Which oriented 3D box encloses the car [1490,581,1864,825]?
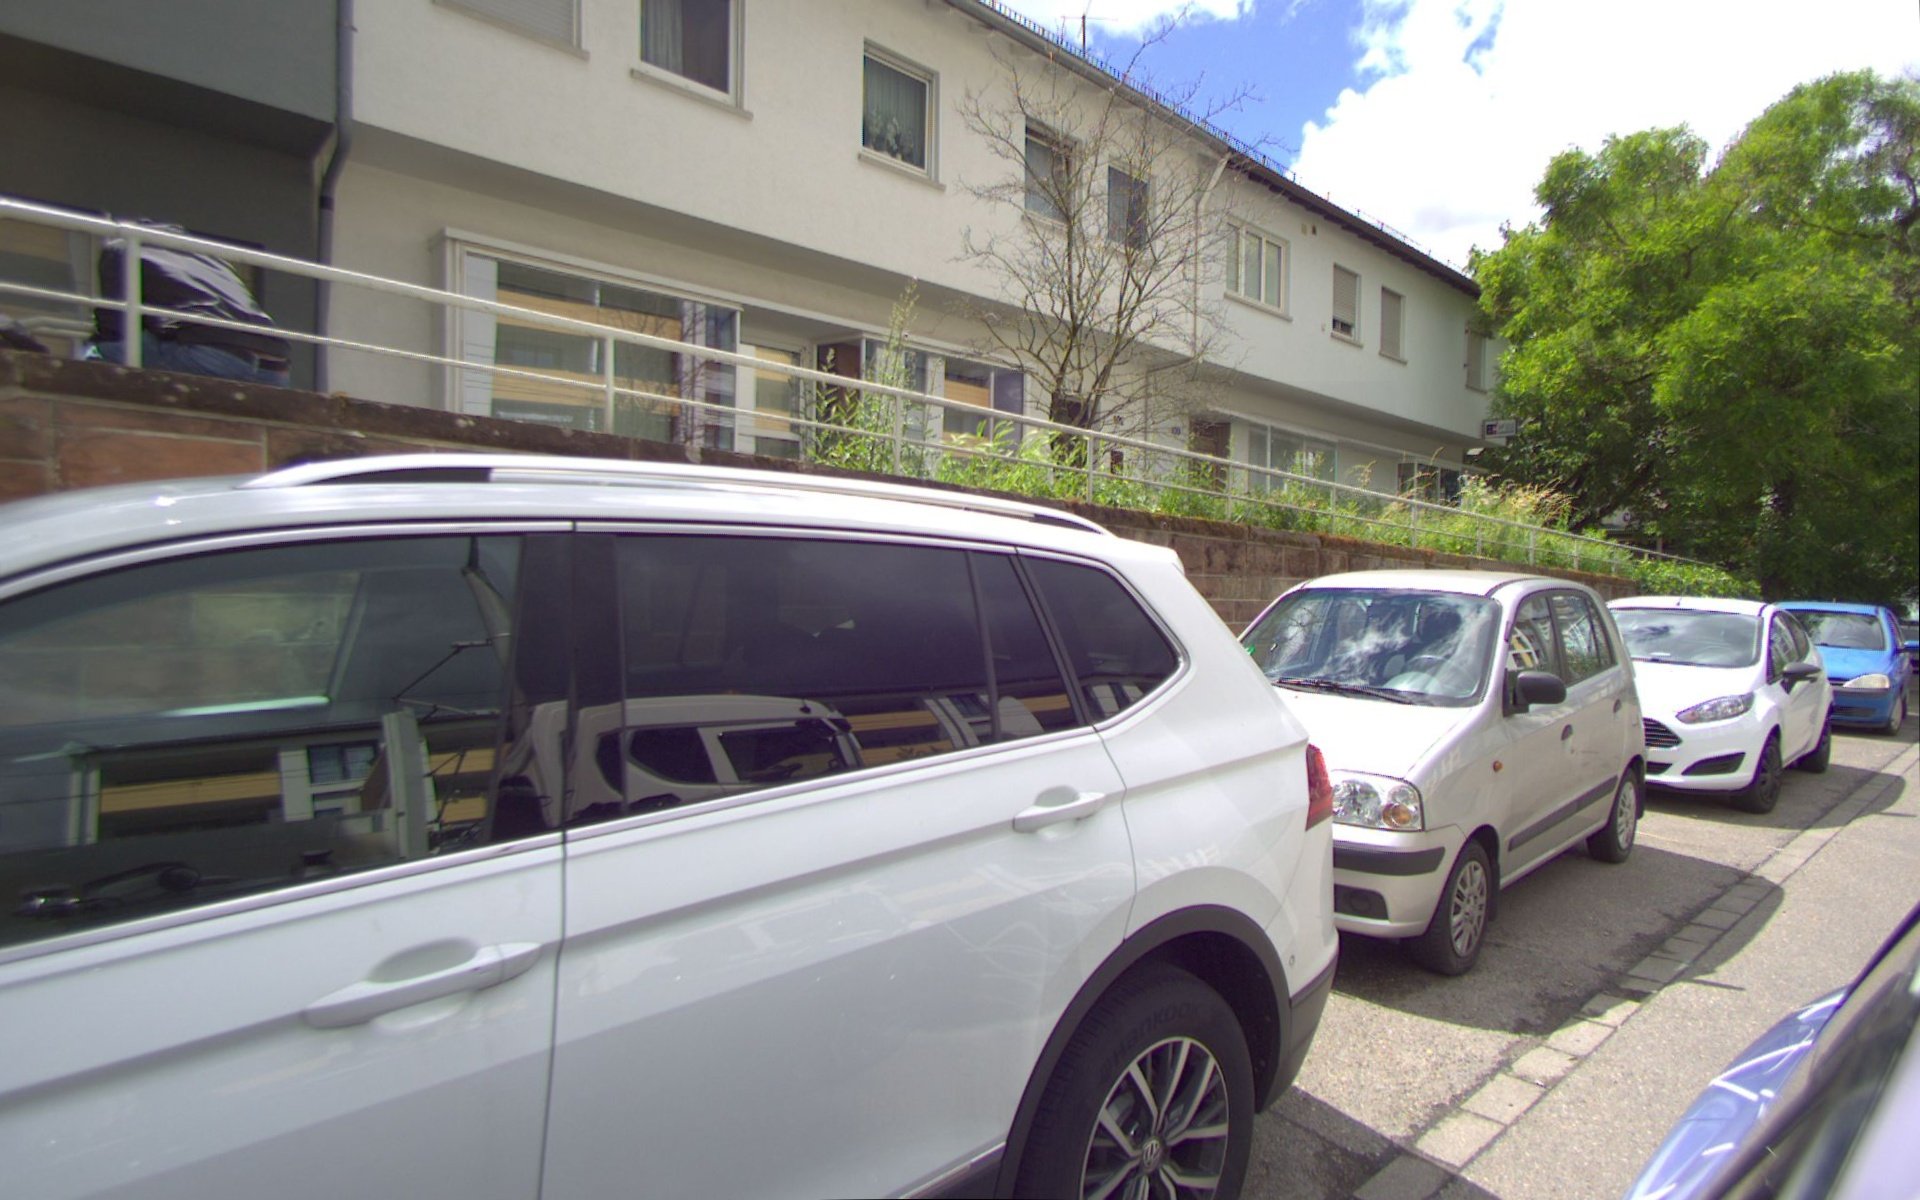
[{"bbox_3d":[5.898,0.638,8.165,3.755,1.508,1.648,0,1,-42],"label":"car"}]

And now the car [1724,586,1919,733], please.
[{"bbox_3d":[10.780,0.620,12.442,3.614,1.474,1.610,0,2,-44],"label":"car"}]

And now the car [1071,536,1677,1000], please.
[{"bbox_3d":[2.293,0.562,5.179,3.416,1.572,1.583,0,1,-43],"label":"car"}]

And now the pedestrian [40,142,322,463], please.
[{"bbox_3d":[-2.676,-0.936,3.474,0.693,0.800,0.796,1,0,-42],"label":"pedestrian"}]

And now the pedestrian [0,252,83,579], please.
[{"bbox_3d":[-3.133,-0.560,3.140,0.605,0.956,0.643,1,2,-42],"label":"pedestrian"}]

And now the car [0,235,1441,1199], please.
[{"bbox_3d":[-1.159,0.515,1.769,4.493,1.703,1.828,1,1,-39],"label":"car"}]

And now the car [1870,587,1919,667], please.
[{"bbox_3d":[20.052,0.556,20.948,2.798,1.553,1.515,0,2,-43],"label":"car"}]

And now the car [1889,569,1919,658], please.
[{"bbox_3d":[24.030,0.335,24.443,5.648,1.983,1.917,0,2,-43],"label":"car"}]
